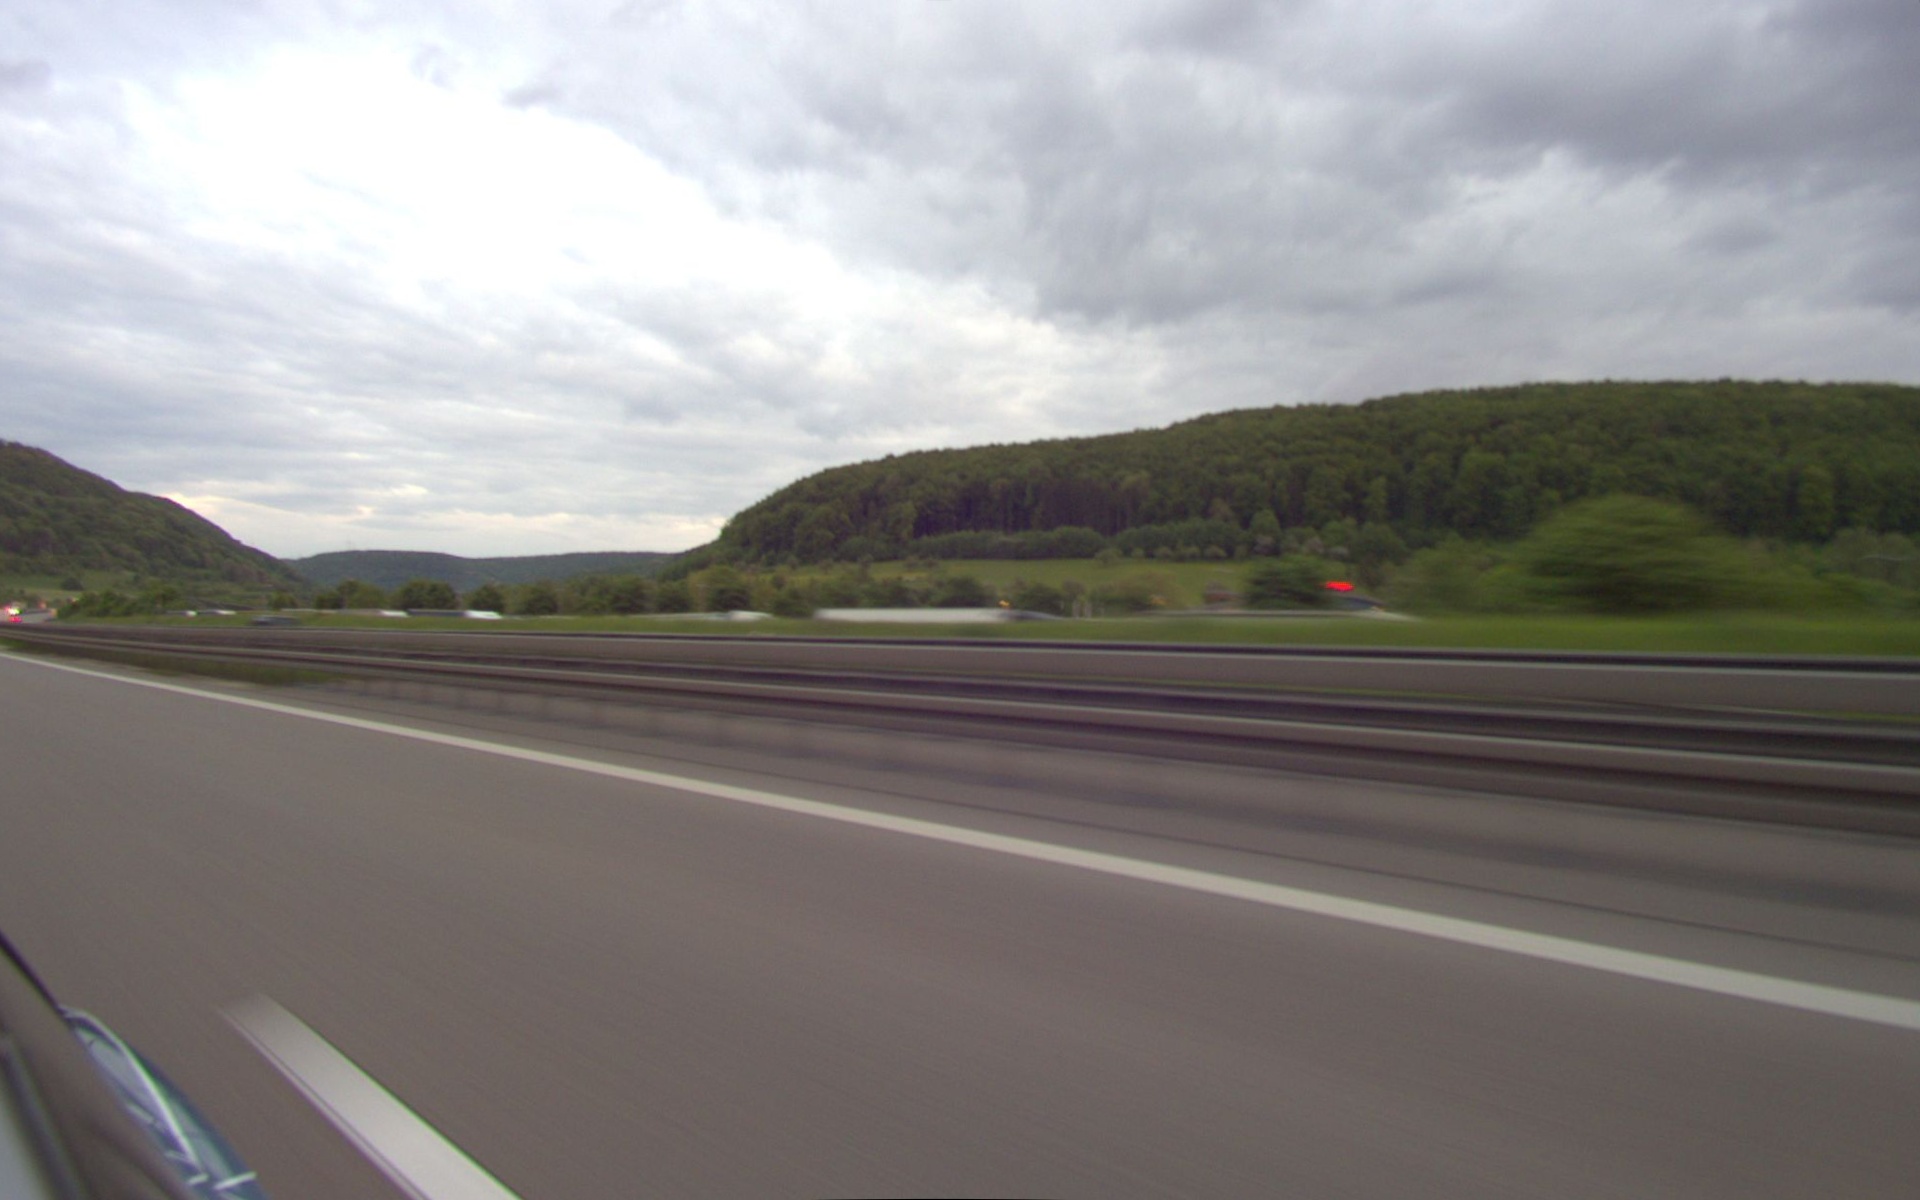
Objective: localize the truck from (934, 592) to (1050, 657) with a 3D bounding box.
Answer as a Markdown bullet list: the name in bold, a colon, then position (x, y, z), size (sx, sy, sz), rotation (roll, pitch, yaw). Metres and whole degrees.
- **truck**: position (1.582, 1.201, 51.358), size (5.302, 3.112, 2.837), rotation (-1, -1, 41)

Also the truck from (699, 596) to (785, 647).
- **truck**: position (-13.989, 1.343, 64.888), size (5.302, 3.112, 2.837), rotation (-1, -1, 41)

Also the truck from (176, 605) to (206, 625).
- **truck**: position (-123.913, 2.385, 163.034), size (5.890, 3.112, 2.837), rotation (-1, -1, 41)

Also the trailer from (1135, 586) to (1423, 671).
- **trailer**: position (12.814, 1.101, 41.828), size (11.150, 3.112, 2.838), rotation (-1, -1, 40)

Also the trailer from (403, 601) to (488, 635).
- **trailer**: position (-49.330, 1.683, 96.793), size (12.480, 3.112, 2.837), rotation (-1, -1, 42)

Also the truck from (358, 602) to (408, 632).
- **truck**: position (-61.071, 1.791, 107.027), size (5.890, 3.112, 2.837), rotation (-1, -1, 41)

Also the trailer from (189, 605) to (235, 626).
- **trailer**: position (-114.054, 2.291, 154.195), size (13.629, 3.112, 2.837), rotation (-1, -1, 42)

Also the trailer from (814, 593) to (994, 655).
- **trailer**: position (-3.339, 1.247, 55.759), size (11.155, 3.112, 2.837), rotation (-1, -1, 42)

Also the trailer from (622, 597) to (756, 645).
- **trailer**: position (-18.668, 1.415, 68.940), size (11.721, 3.076, 2.843), rotation (-1, -1, 42)

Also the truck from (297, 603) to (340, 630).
- **truck**: position (-76.685, 1.938, 120.916), size (5.890, 3.112, 2.837), rotation (-1, -1, 41)

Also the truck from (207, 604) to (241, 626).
- **truck**: position (-108.869, 2.242, 149.615), size (5.839, 3.112, 2.837), rotation (-1, -1, 41)

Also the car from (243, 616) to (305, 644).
- **car**: position (-43.927, 1.904, 64.757), size (5.113, 1.714, 1.973), rotation (-1, -4, 41)

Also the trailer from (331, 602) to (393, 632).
- **trailer**: position (-65.774, 1.835, 111.219), size (10.152, 3.112, 2.837), rotation (-1, -1, 42)

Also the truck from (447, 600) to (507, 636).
- **truck**: position (-43.943, 1.632, 91.977), size (5.890, 3.112, 2.837), rotation (-1, -1, 41)
